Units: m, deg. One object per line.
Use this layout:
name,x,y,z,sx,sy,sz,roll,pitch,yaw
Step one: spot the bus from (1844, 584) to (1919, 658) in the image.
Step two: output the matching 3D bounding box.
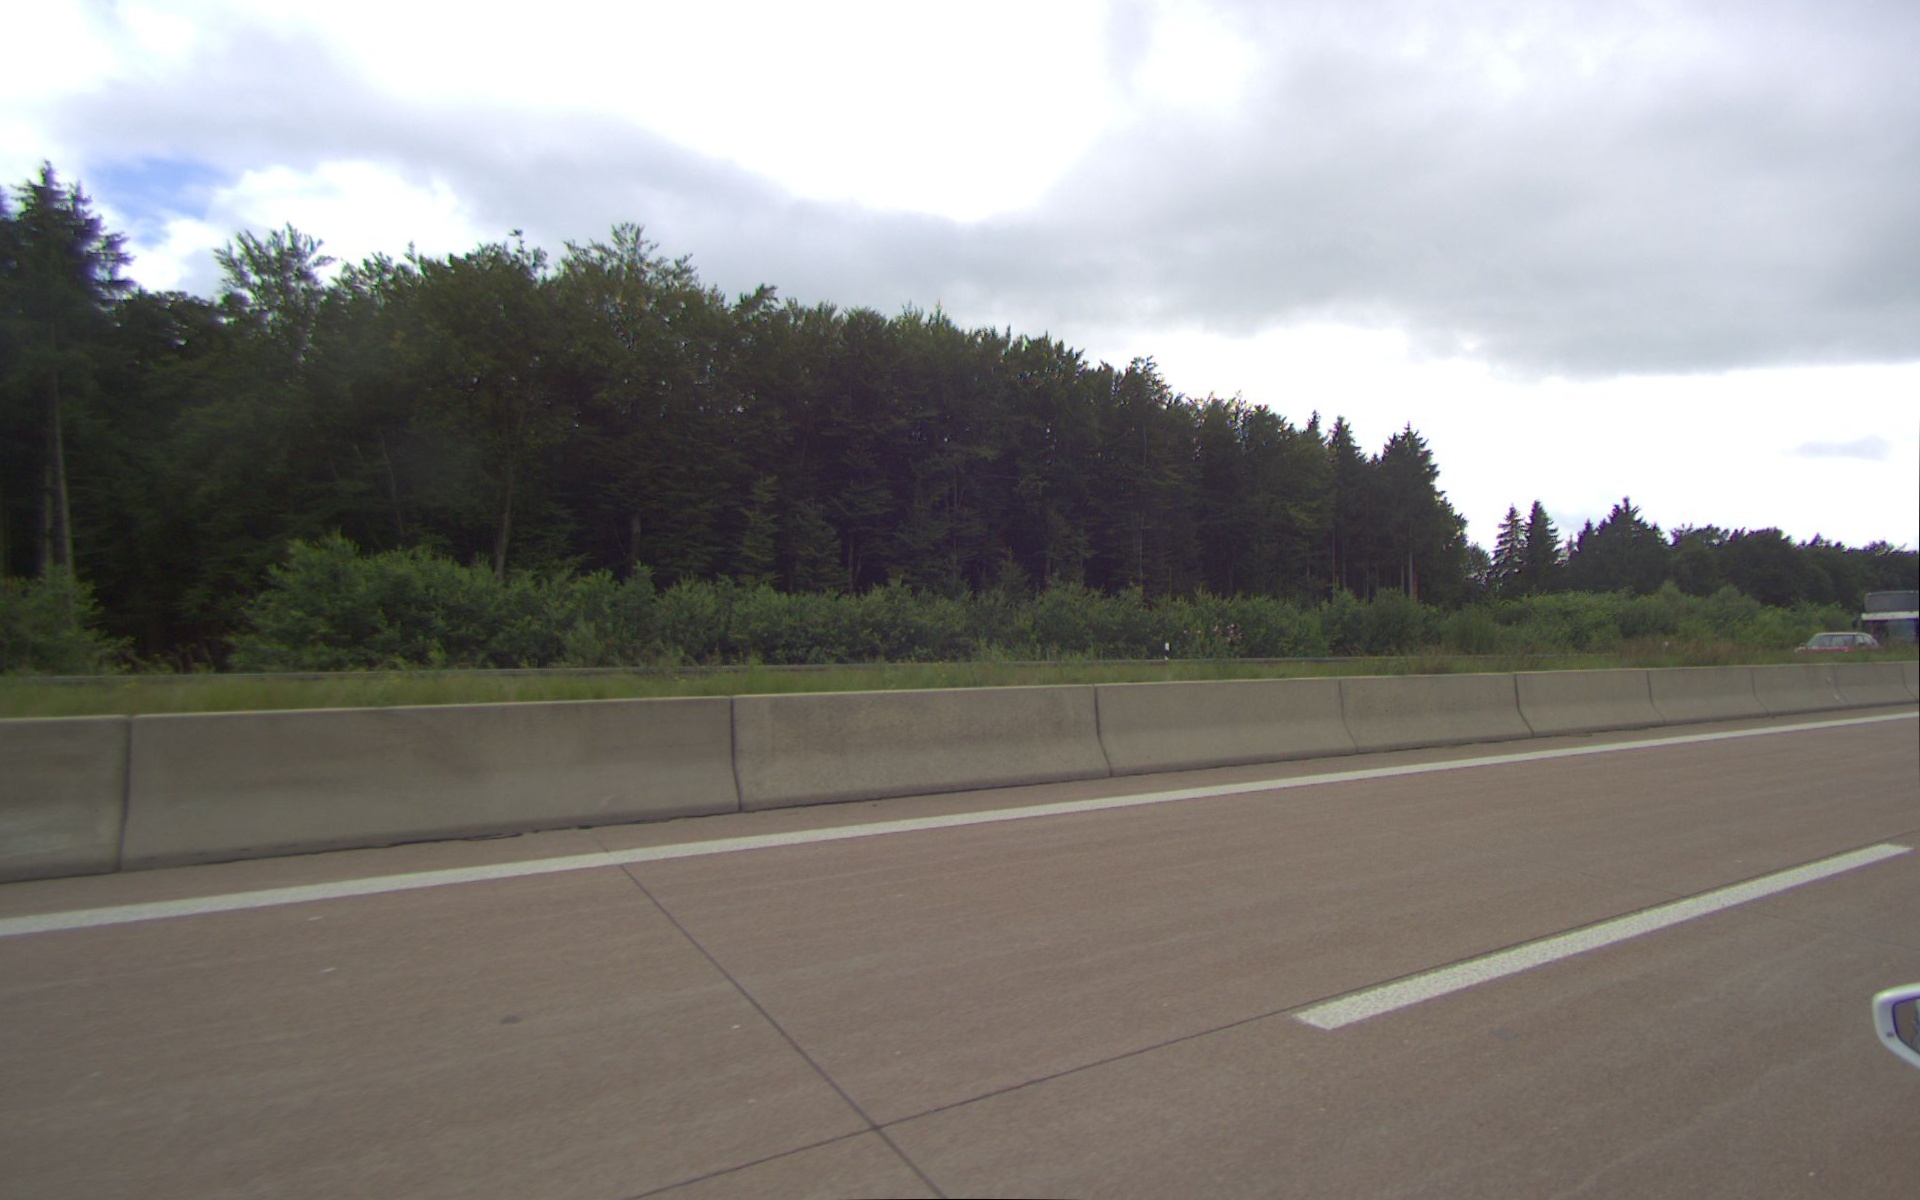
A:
bus,56.590,1.258,59.074,14.205,3.940,3.031,1,0,-33
